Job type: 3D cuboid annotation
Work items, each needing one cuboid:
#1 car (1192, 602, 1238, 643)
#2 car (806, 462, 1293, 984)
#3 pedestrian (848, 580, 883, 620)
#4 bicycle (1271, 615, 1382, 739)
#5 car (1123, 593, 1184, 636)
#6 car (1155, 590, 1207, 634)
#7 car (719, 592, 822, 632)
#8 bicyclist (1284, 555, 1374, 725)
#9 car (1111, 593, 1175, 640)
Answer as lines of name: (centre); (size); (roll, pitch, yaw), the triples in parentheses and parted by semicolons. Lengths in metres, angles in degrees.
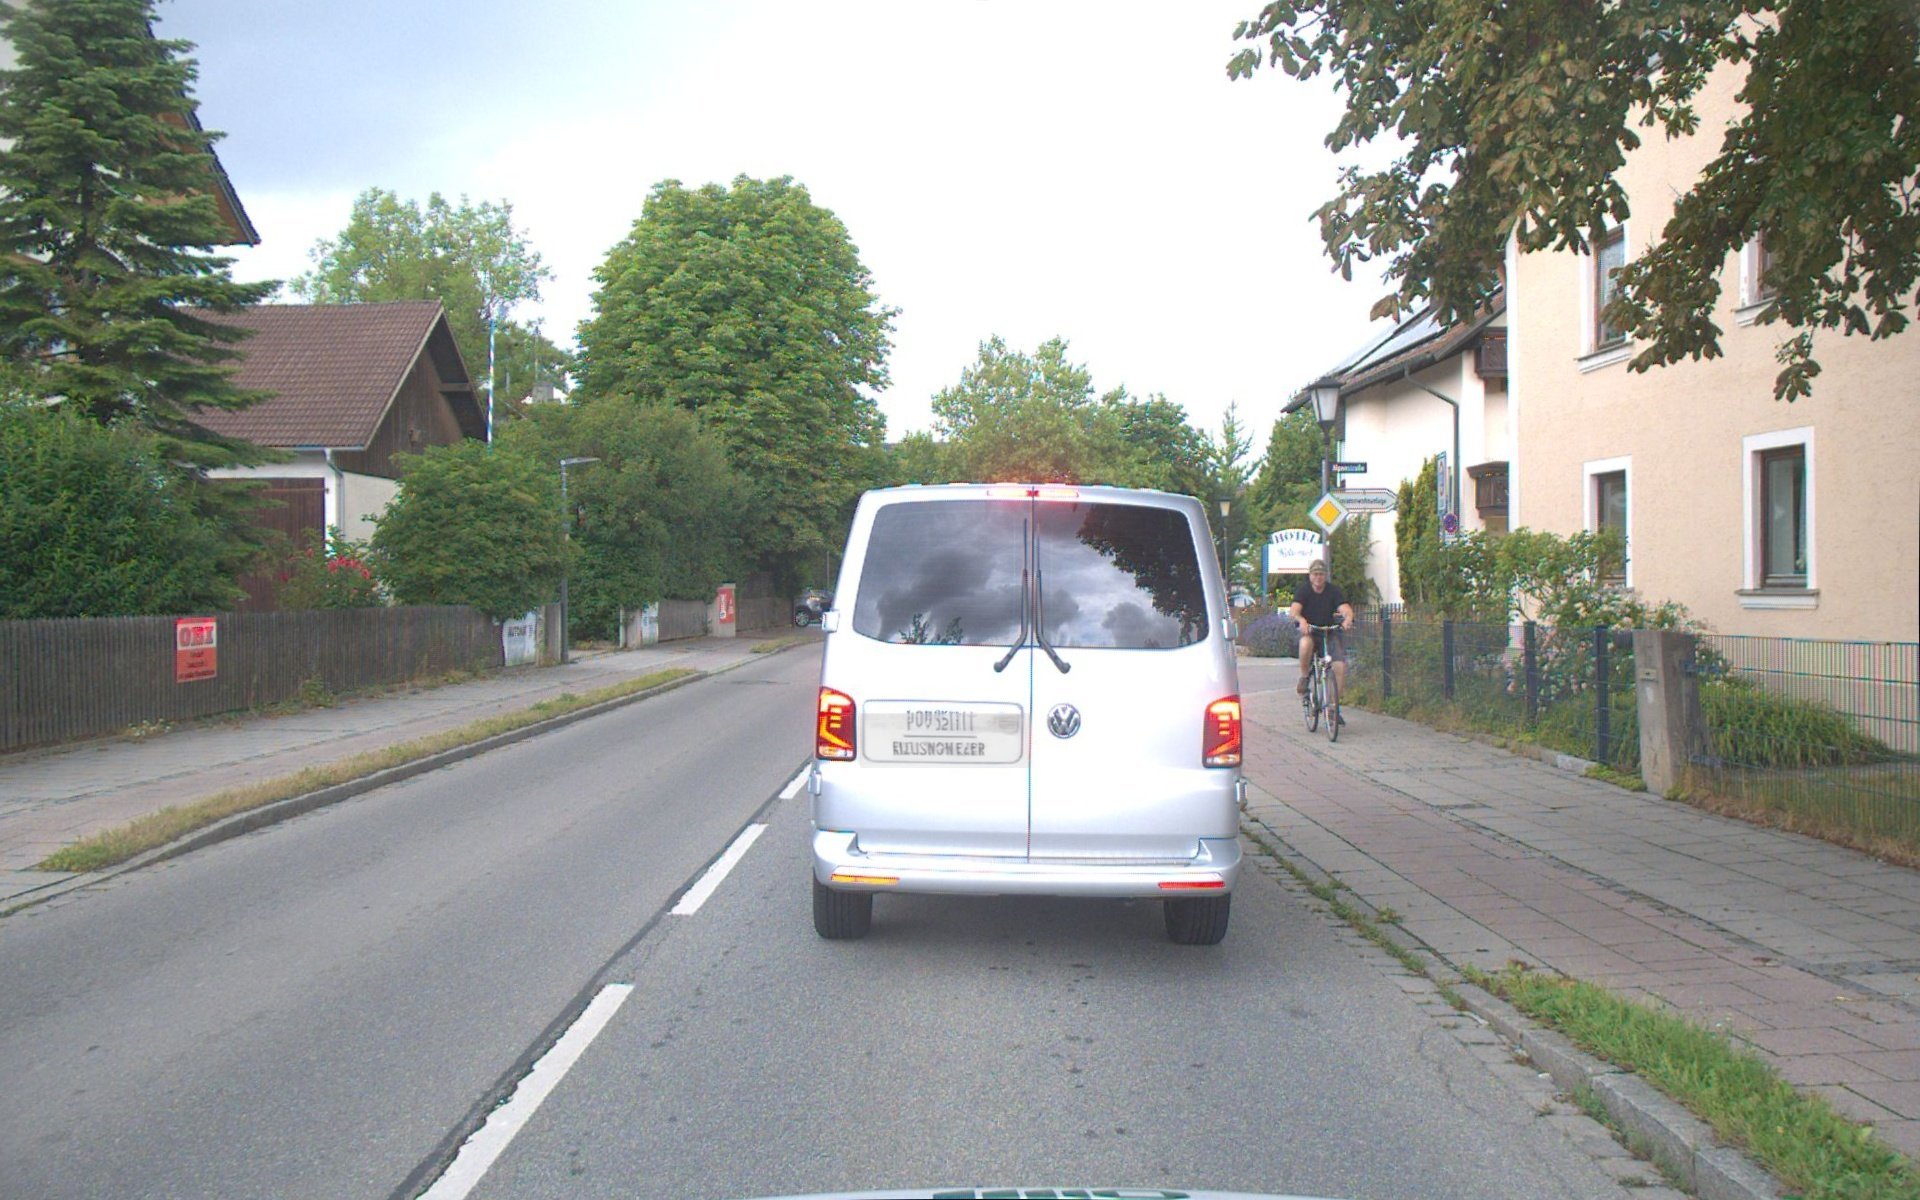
car: (12.023, 1.036, 77.929); (1.841, 1.857, 3.924); (0, 0, 13)
car: (0.353, 0.459, 8.249); (1.842, 1.974, 3.921); (0, 0, 0)
pedestrian: (-4.387, -0.020, 76.522); (1.304, 1.834, 1.059); (0, 0, -29)
bicycle: (3.675, 0.743, 16.740); (0.749, 1.163, 1.845); (0, 0, 1)
car: (7.346, 0.534, 62.533); (1.841, 1.562, 3.924); (0, 0, 13)
car: (9.297, 0.468, 69.383); (1.841, 1.779, 4.084); (0, 0, 12)
car: (-7.346, 0.446, 64.073); (3.913, 1.512, 1.996); (0, 0, -9)
bicyclist: (3.698, 0.388, 16.632); (0.721, 1.661, 0.890); (0, 0, 1)
car: (6.283, 0.528, 56.457); (1.841, 1.562, 3.924); (0, 0, 11)
